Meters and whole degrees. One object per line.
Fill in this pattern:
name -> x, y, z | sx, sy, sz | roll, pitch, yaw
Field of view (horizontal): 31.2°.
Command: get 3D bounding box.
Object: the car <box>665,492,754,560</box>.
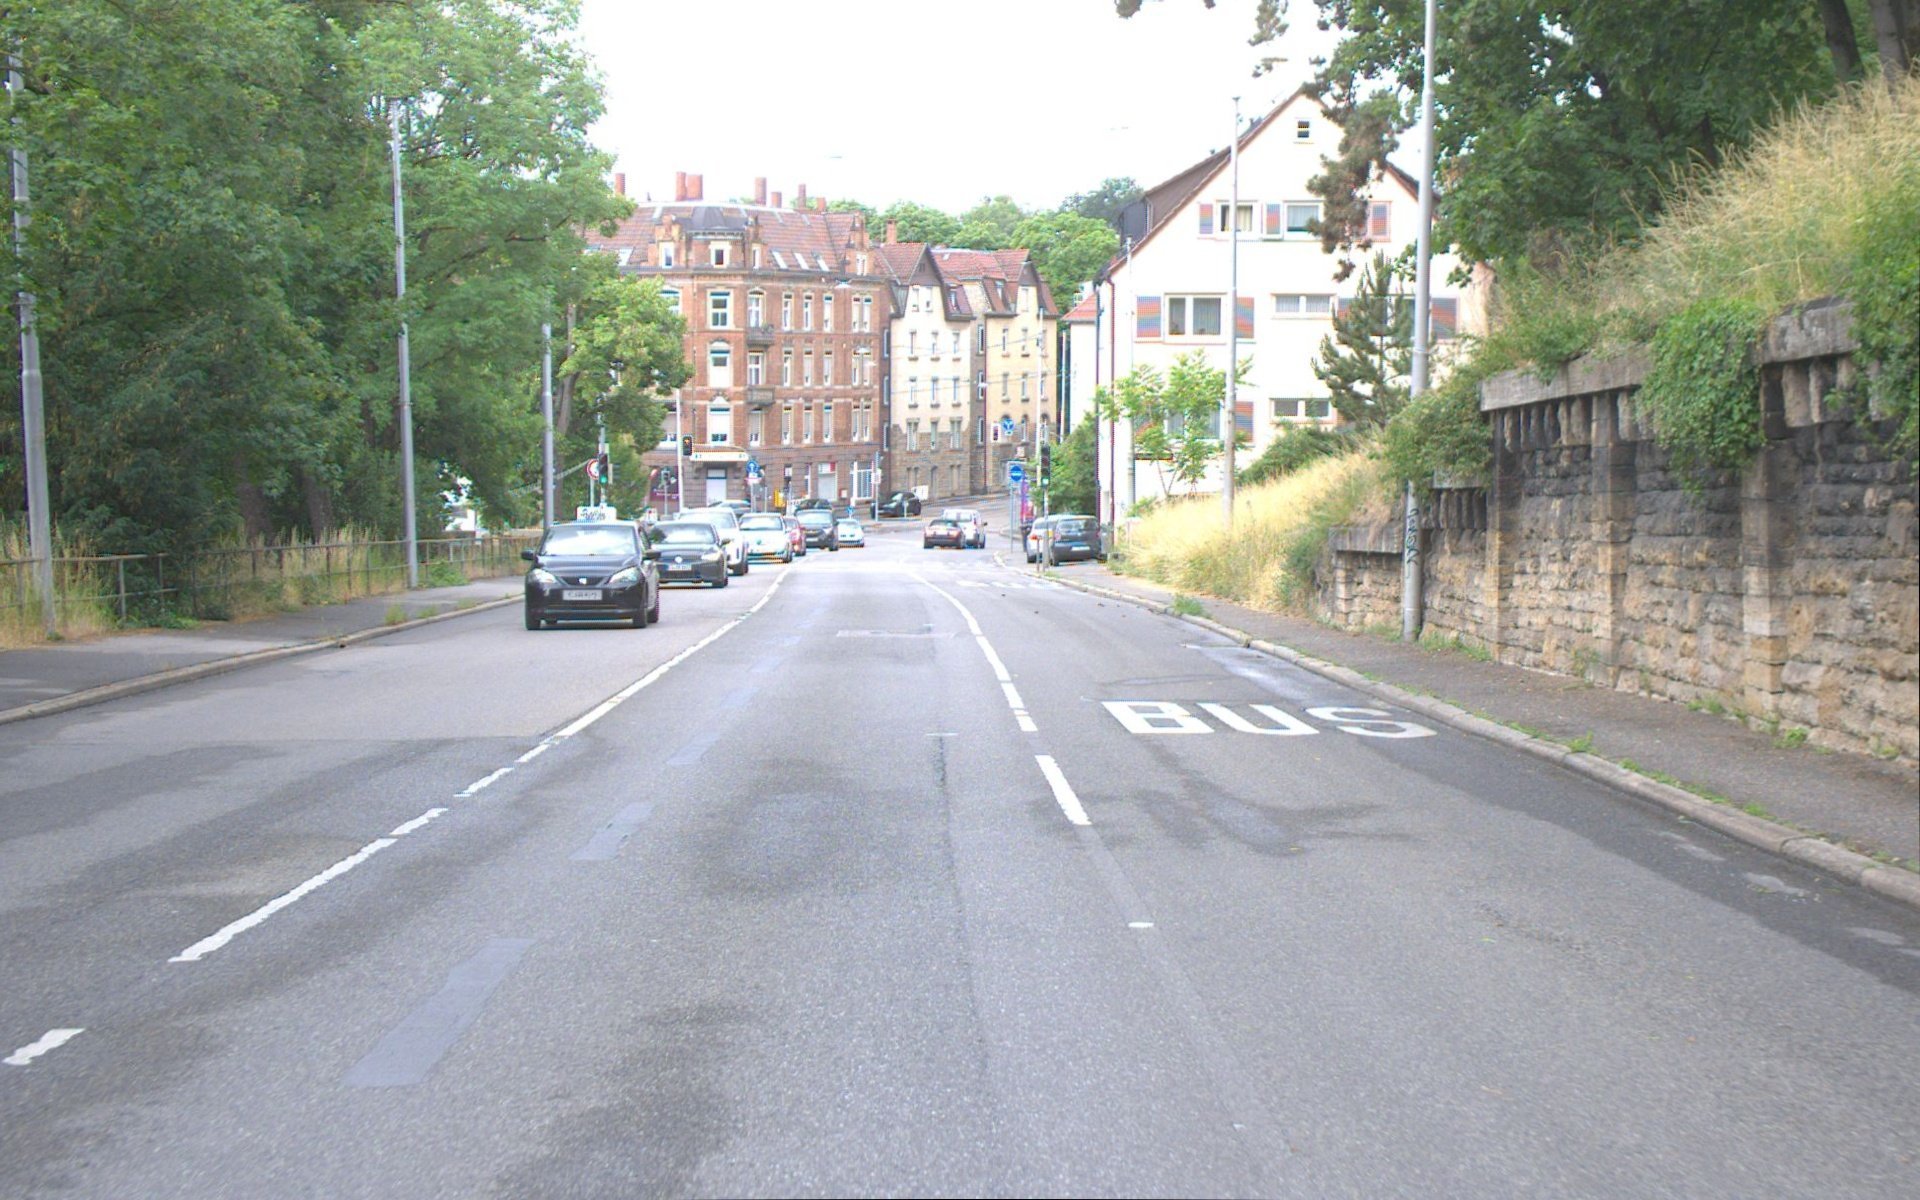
car -> -6.407, -1.905, 88.295 | 1.995, 1.677, 4.664 | -1, 2, -1

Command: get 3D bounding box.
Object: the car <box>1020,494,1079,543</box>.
car -> 2.920, -2.664, 111.218 | 1.794, 1.446, 4.718 | -3, 2, 2

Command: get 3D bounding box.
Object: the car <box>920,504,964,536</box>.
car -> -0.831, -3.780, 162.757 | 1.816, 1.425, 4.000 | 2, 2, 3

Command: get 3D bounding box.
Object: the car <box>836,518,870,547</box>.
car -> -5.538, -3.492, 178.014 | 1.720, 1.440, 4.159 | -1, 1, -1

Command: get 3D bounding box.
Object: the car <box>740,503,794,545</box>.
car -> -6.939, -2.745, 123.991 | 1.783, 1.454, 4.429 | -1, 1, -2

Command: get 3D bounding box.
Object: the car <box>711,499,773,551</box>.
car -> -6.856, -2.363, 108.232 | 1.783, 1.569, 4.281 | -1, 1, -2

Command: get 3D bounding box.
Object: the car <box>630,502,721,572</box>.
car -> -5.965, -1.337, 72.470 | 1.712, 1.422, 4.139 | 0, 1, -2

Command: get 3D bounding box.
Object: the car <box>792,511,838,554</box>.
car -> -6.078, -2.842, 144.450 | 1.783, 1.740, 4.429 | -1, 1, -1

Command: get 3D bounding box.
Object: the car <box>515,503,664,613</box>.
car -> -5.038, -0.604, 47.162 | 1.669, 1.442, 3.688 | -1, 1, -1

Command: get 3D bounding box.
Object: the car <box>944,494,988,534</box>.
car -> 0.303, -4.216, 169.341 | 1.909, 1.877, 4.000 | 2, 1, 3

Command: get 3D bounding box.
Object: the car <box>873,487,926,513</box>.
car -> -3.782, -6.278, 216.523 | 1.984, 1.569, 4.371 | -1, 1, 19

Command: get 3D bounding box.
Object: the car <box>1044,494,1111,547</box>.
car -> 3.479, -2.363, 102.301 | 1.681, 1.446, 4.000 | -3, 1, -1
